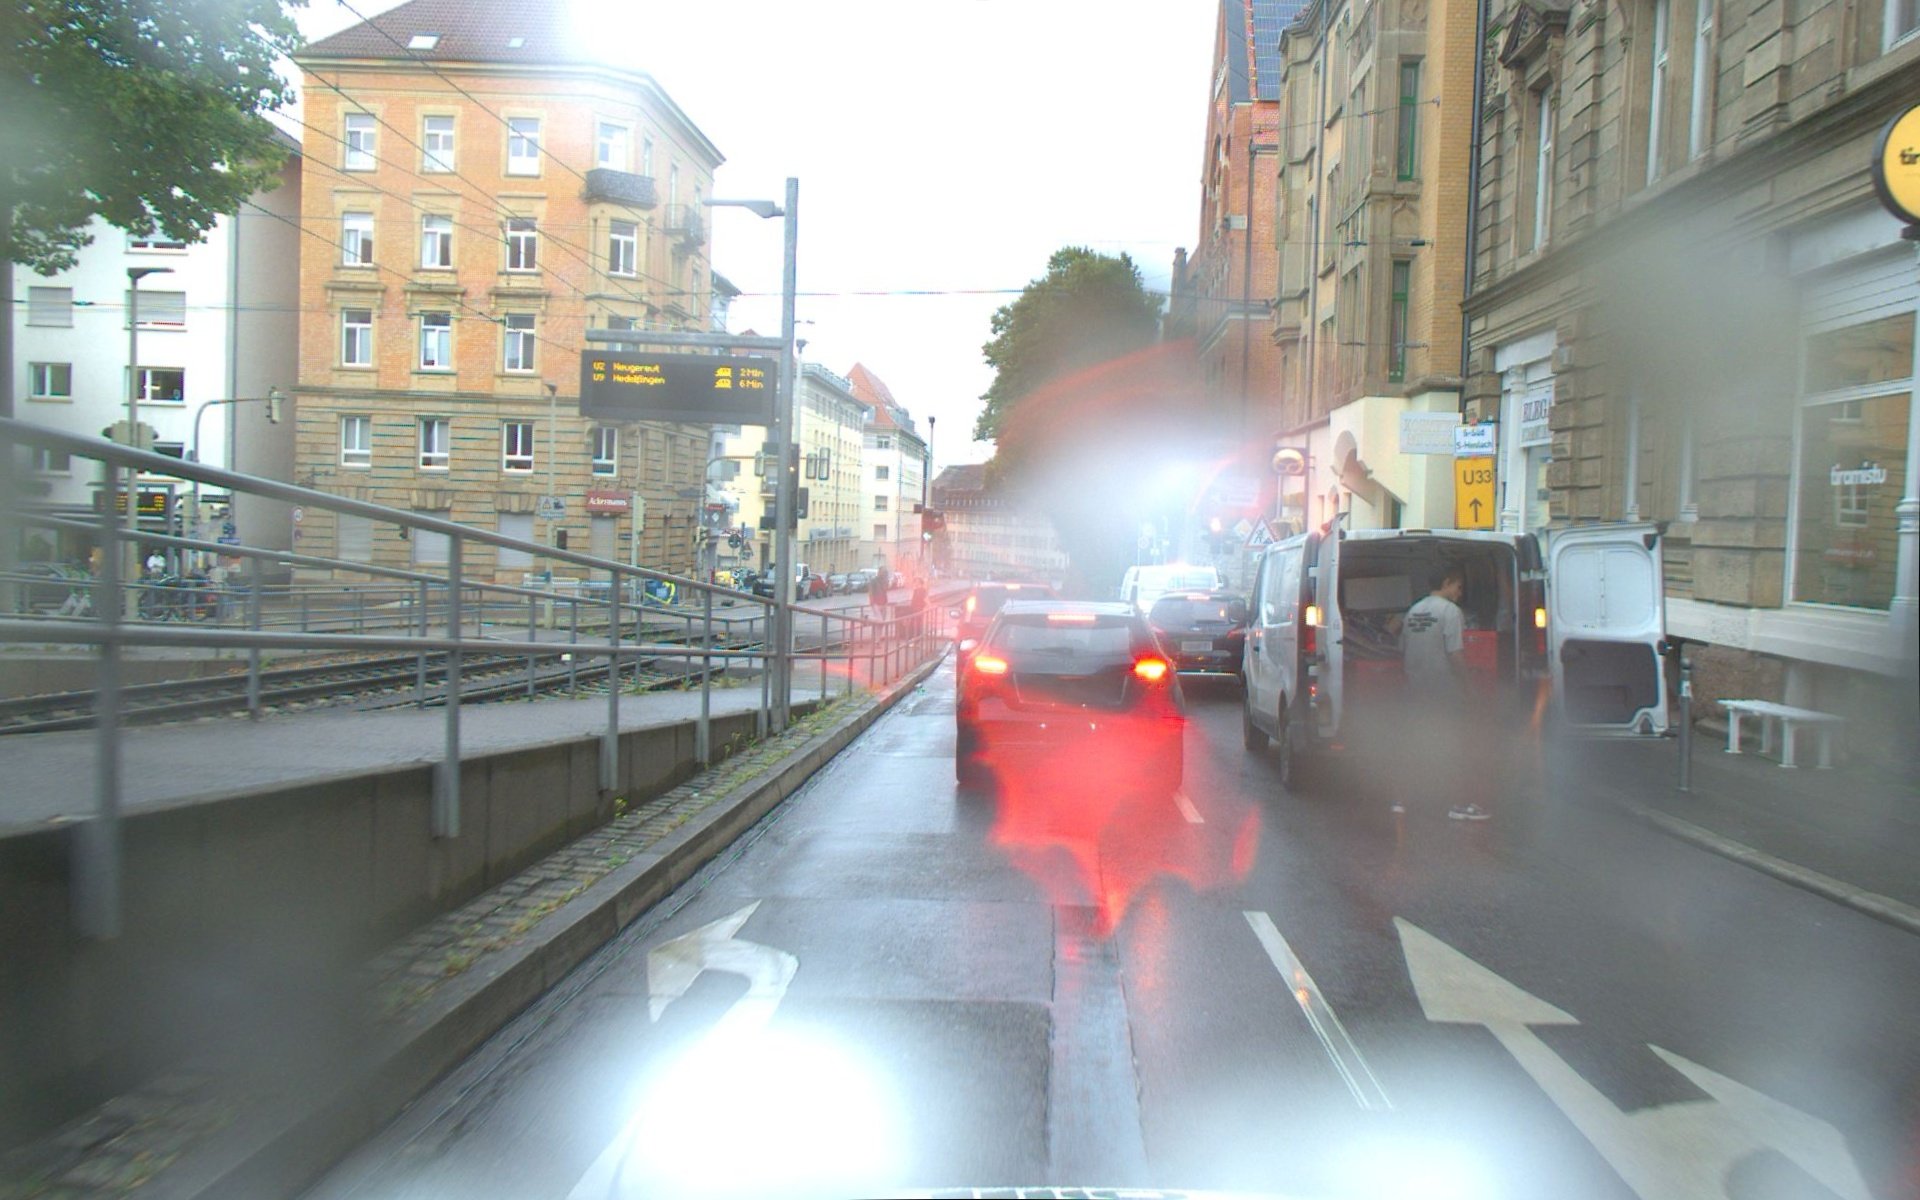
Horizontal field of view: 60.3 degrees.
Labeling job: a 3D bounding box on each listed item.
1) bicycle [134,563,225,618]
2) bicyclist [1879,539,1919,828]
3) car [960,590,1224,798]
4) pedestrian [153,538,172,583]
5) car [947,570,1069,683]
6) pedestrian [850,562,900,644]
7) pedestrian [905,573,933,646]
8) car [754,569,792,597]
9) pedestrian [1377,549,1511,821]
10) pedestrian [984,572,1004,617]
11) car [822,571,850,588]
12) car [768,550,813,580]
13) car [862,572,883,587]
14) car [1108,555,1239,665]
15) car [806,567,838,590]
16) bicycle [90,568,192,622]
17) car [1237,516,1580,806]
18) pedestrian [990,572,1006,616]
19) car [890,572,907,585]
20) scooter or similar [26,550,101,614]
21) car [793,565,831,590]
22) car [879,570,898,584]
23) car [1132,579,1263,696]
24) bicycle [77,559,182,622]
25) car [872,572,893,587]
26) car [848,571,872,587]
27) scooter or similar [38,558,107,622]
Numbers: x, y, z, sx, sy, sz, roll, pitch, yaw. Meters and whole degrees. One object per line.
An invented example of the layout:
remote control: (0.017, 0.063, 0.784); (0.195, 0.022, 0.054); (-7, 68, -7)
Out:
bicycle: (-17.595, -0.216, 37.291); (1.734, 1.162, 0.517); (2, 0, -8)
bicyclist: (6.012, 0.493, 9.759); (0.835, 1.686, 0.628); (1, 0, -19)
car: (1.088, 0.662, 13.962); (1.855, 1.414, 4.002); (2, 1, 4)
pedestrian: (-30.045, -1.487, 62.306); (0.512, 1.650, 0.480); (2, 1, -36)
car: (0.703, 0.336, 24.647); (1.645, 1.515, 3.614); (1, 1, 1)
pedestrian: (-1.850, 0.066, 36.047); (0.734, 1.754, 0.730); (2, 1, -40)
pedestrian: (-0.892, 0.200, 35.922); (0.521, 1.557, 0.436); (2, 0, -5)
car: (-9.607, -0.888, 85.211); (1.422, 1.341, 3.296); (3, 1, 2)
pedestrian: (3.334, 0.551, 11.370); (0.672, 1.784, 0.834); (1, 0, 31)
pedestrian: (1.314, -0.210, 63.867); (0.664, 1.690, 0.677); (1, 0, 9)
car: (-8.295, -1.370, 110.926); (1.407, 1.126, 3.163); (2, 1, 3)
car: (-9.357, -1.936, 91.555); (1.749, 1.556, 4.464); (2, 1, 3)
car: (-7.174, -1.689, 135.469); (1.366, 1.191, 3.163); (2, 1, 3)
car: (3.966, 0.145, 31.389); (1.893, 1.863, 4.281); (2, 1, 0)
car: (-8.548, -1.338, 102.426); (1.468, 1.379, 3.163); (2, 1, 3)
bicycle: (-17.342, -0.102, 35.054); (1.836, 1.080, 0.517); (2, 0, -9)
car: (3.546, 0.404, 14.002); (1.880, 1.969, 4.688); (2, 1, 4)
pedestrian: (1.490, -0.242, 65.233); (0.507, 1.694, 0.477); (3, 1, 6)
car: (-6.059, -2.108, 163.717); (1.366, 1.191, 3.163); (2, 1, 3)
scooter or similar: (-17.614, -0.340, 32.501); (0.294, 1.216, 1.244); (2, 1, 42)
car: (-8.790, -1.322, 98.358); (1.645, 1.379, 3.705); (2, 1, 3)
car: (-6.541, -2.067, 151.155); (1.366, 1.191, 3.163); (2, 1, 3)
car: (3.471, 0.480, 24.166); (1.677, 1.494, 4.284); (2, 1, 8)
bicycle: (-17.091, -0.204, 34.065); (1.835, 1.216, 0.517); (2, 0, -8)
car: (-6.641, -1.786, 142.030); (1.366, 1.191, 3.163); (2, 1, 3)
car: (-7.524, -1.578, 124.271); (1.366, 1.191, 3.163); (2, 1, 3)
scooter or similar: (-17.231, -0.184, 32.113); (0.356, 1.216, 1.105); (2, 1, 42)
